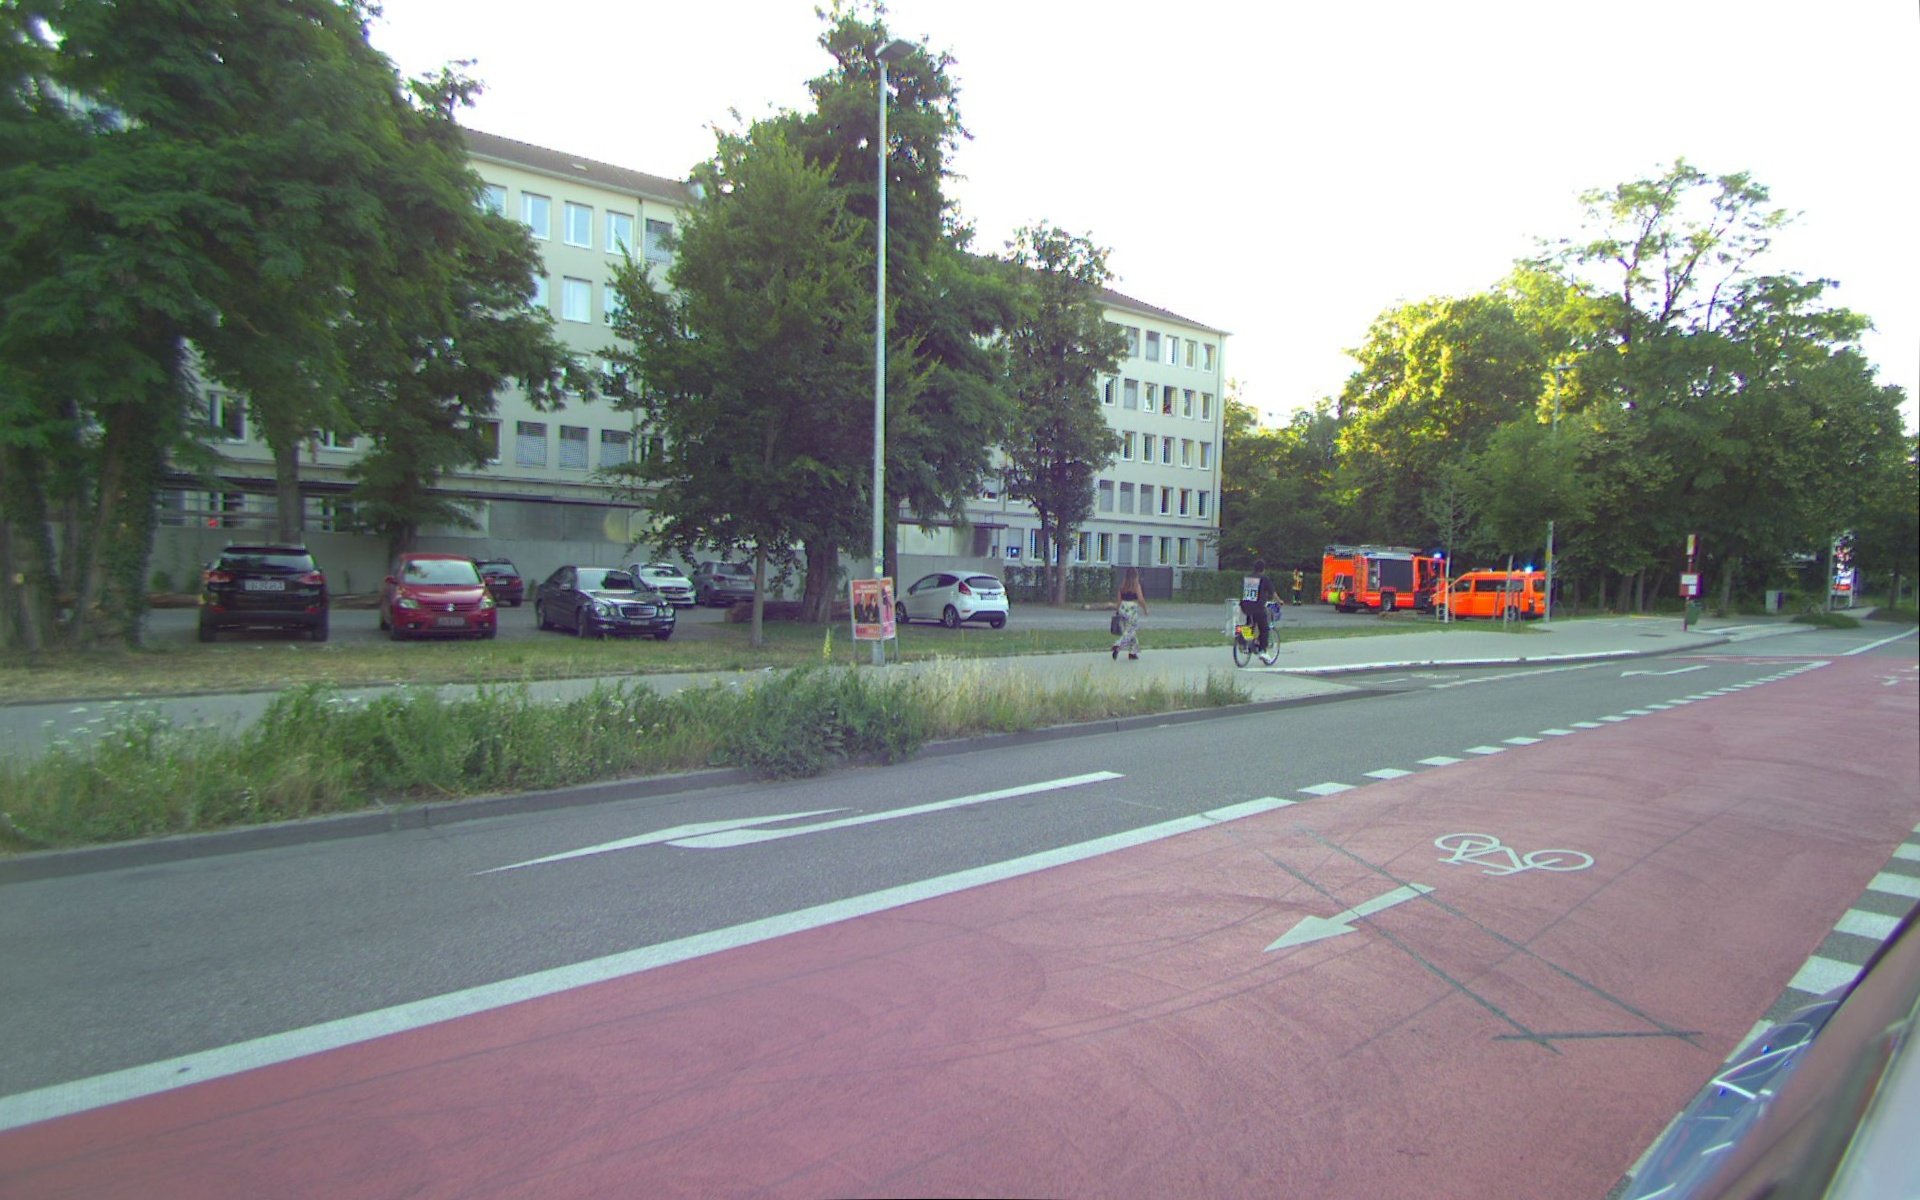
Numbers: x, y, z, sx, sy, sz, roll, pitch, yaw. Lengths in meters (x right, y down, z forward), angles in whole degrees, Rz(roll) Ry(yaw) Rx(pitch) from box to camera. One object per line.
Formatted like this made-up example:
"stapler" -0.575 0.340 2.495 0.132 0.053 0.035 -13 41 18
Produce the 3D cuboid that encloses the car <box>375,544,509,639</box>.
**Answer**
"car" -10.111 -0.233 19.597 1.882 1.630 4.003 0 2 -33

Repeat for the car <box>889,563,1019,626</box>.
"car" -0.223 -0.193 26.856 1.633 1.477 3.667 0 2 -35

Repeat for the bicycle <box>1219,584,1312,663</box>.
"bicycle" 5.212 0.373 17.187 1.866 1.256 0.571 0 2 -41

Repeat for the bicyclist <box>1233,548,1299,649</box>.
"bicyclist" 5.187 -0.044 17.146 1.019 1.652 0.571 0 2 -41

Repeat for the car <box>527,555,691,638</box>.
"car" -7.386 -0.143 20.989 1.883 1.482 4.519 0 3 -37

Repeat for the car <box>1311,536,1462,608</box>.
"car" 20.964 -1.351 49.517 8.138 3.283 2.775 0 2 -34

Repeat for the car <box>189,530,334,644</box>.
"car" -12.292 -0.294 17.863 1.882 1.761 4.241 0 2 -35

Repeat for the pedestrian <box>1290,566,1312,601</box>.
"pedestrian" 18.691 -0.907 55.529 0.669 1.864 0.848 1 1 -23

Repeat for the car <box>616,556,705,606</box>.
"car" -10.020 -0.661 33.685 1.880 1.540 3.921 0 2 -32

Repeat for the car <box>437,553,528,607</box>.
"car" -14.528 -0.640 30.699 1.738 1.477 3.626 0 3 -38

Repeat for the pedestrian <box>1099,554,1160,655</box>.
"pedestrian" 2.847 0.070 16.982 0.676 1.642 0.682 1 2 -41

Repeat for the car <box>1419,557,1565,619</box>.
"car" 22.778 -0.570 43.555 1.963 2.422 5.168 0 2 -37

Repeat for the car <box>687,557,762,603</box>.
"car" -8.204 -0.703 35.083 1.734 1.477 3.320 1 2 -27
